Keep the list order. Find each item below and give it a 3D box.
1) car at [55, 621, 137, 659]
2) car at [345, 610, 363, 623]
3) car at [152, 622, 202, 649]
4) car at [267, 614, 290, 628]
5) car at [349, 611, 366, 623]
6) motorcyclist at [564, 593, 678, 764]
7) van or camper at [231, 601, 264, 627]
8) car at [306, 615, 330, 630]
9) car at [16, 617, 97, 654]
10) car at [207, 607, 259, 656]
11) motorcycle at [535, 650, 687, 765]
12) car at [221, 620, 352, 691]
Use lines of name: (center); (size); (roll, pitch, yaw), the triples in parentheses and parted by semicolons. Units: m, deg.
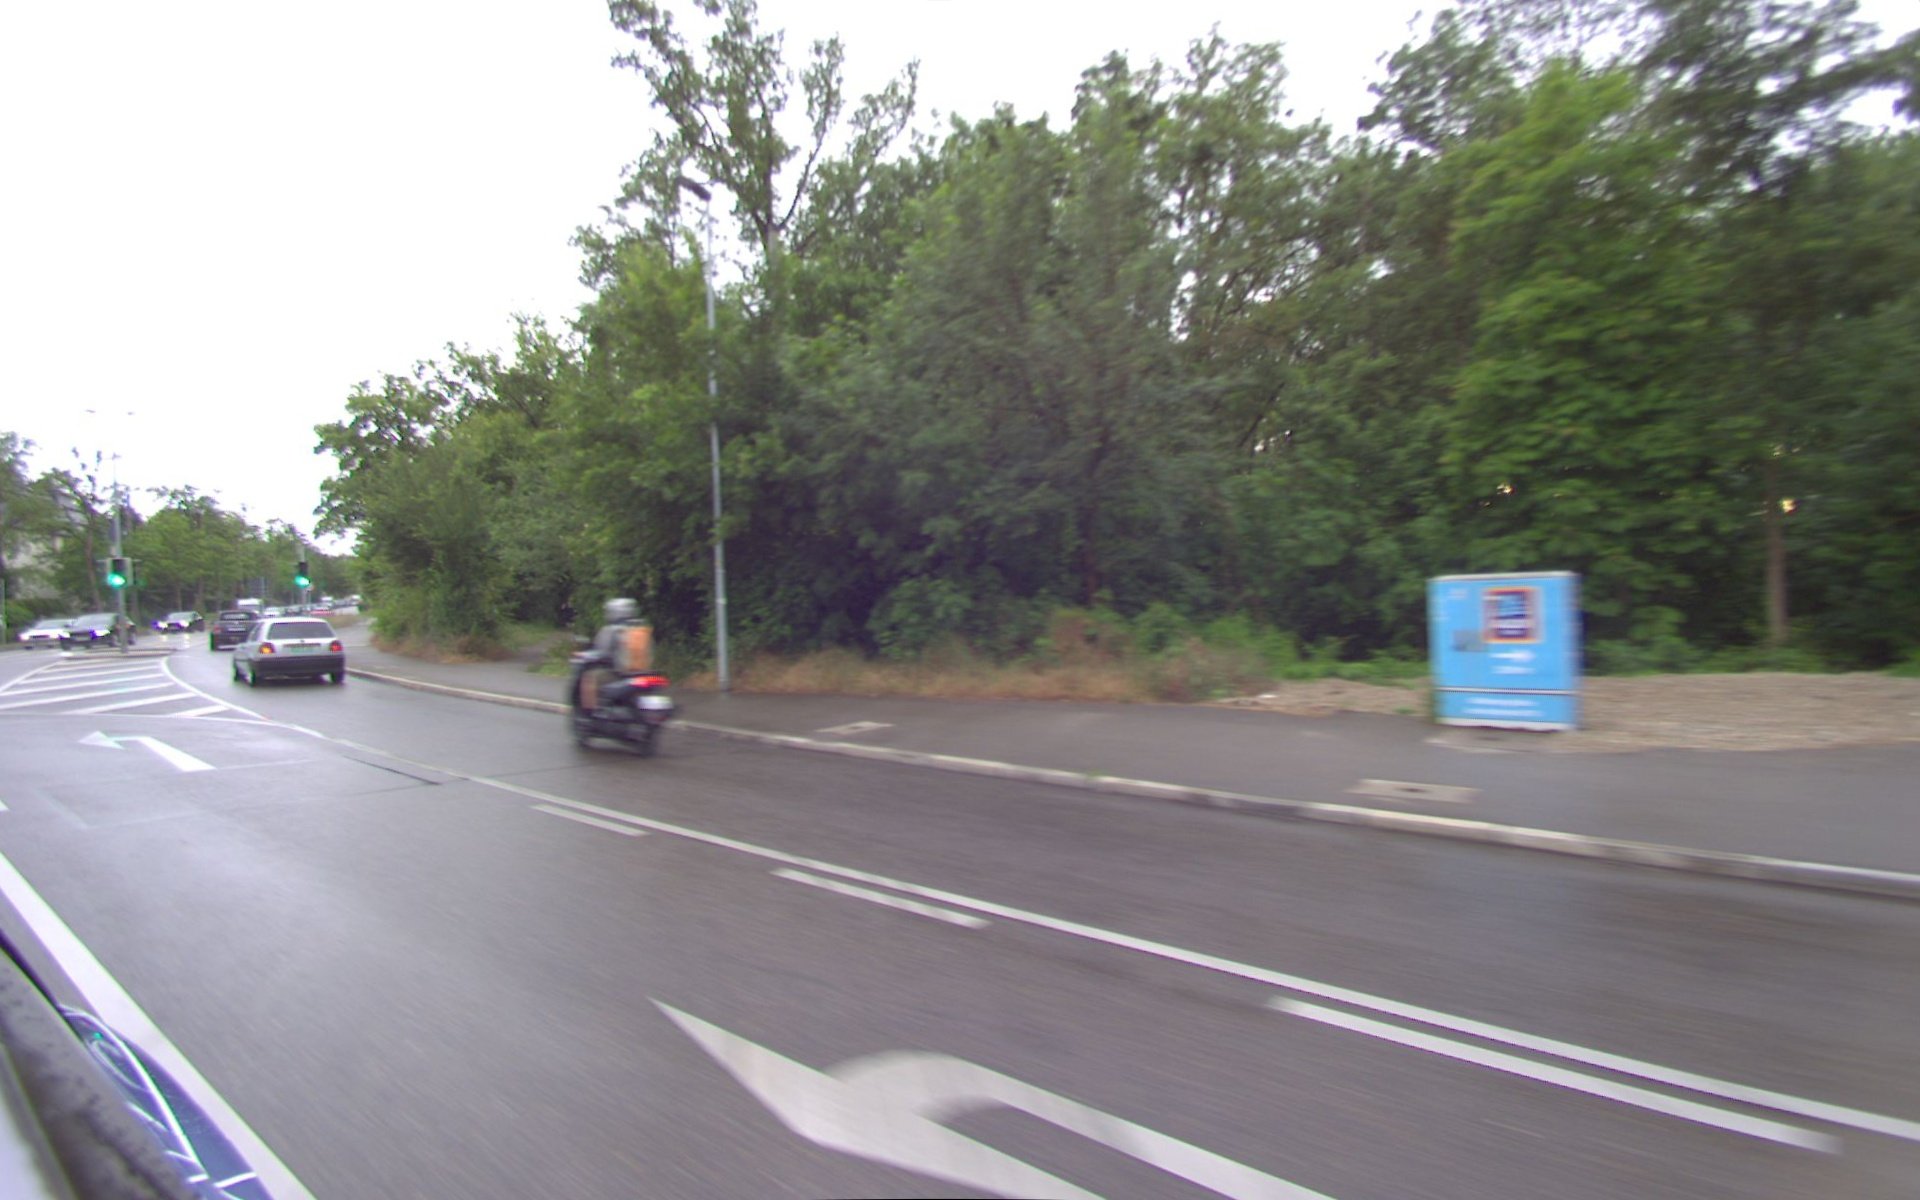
car: (-36.615, 1.668, 42.996); (1.913, 1.466, 4.617); (-1, 0, -31)
car: (-78.549, 2.074, 131.152); (1.913, 1.615, 4.618); (-1, 0, -30)
car: (-50.672, 2.291, 65.593); (1.913, 1.615, 4.618); (-1, 0, -30)
car: (-80.571, 2.466, 119.640); (1.913, 1.615, 4.618); (-1, 0, -30)
car: (-82.555, 2.355, 138.735); (1.913, 1.615, 4.618); (-1, 0, -30)
motorcyclist: (-3.480, 0.767, 10.374); (0.927, 1.644, 0.738); (-2, -1, 42)
van or camper: (-71.287, 1.387, 101.282); (1.966, 2.471, 4.737); (-2, 1, -27)
car: (-63.455, 2.230, 100.044); (1.913, 1.386, 4.617); (-1, 0, -33)
car: (-42.538, 1.629, 47.760); (1.913, 1.615, 4.618); (-1, 0, -30)
car: (-27.812, 1.178, 38.715); (1.555, 1.744, 3.783); (0, -1, -36)
motorcycle: (-3.670, 1.069, 10.545); (1.998, 1.059, 0.587); (-2, -1, 42)
car: (-14.598, 1.144, 21.845); (1.720, 1.362, 4.214); (0, -1, -43)
